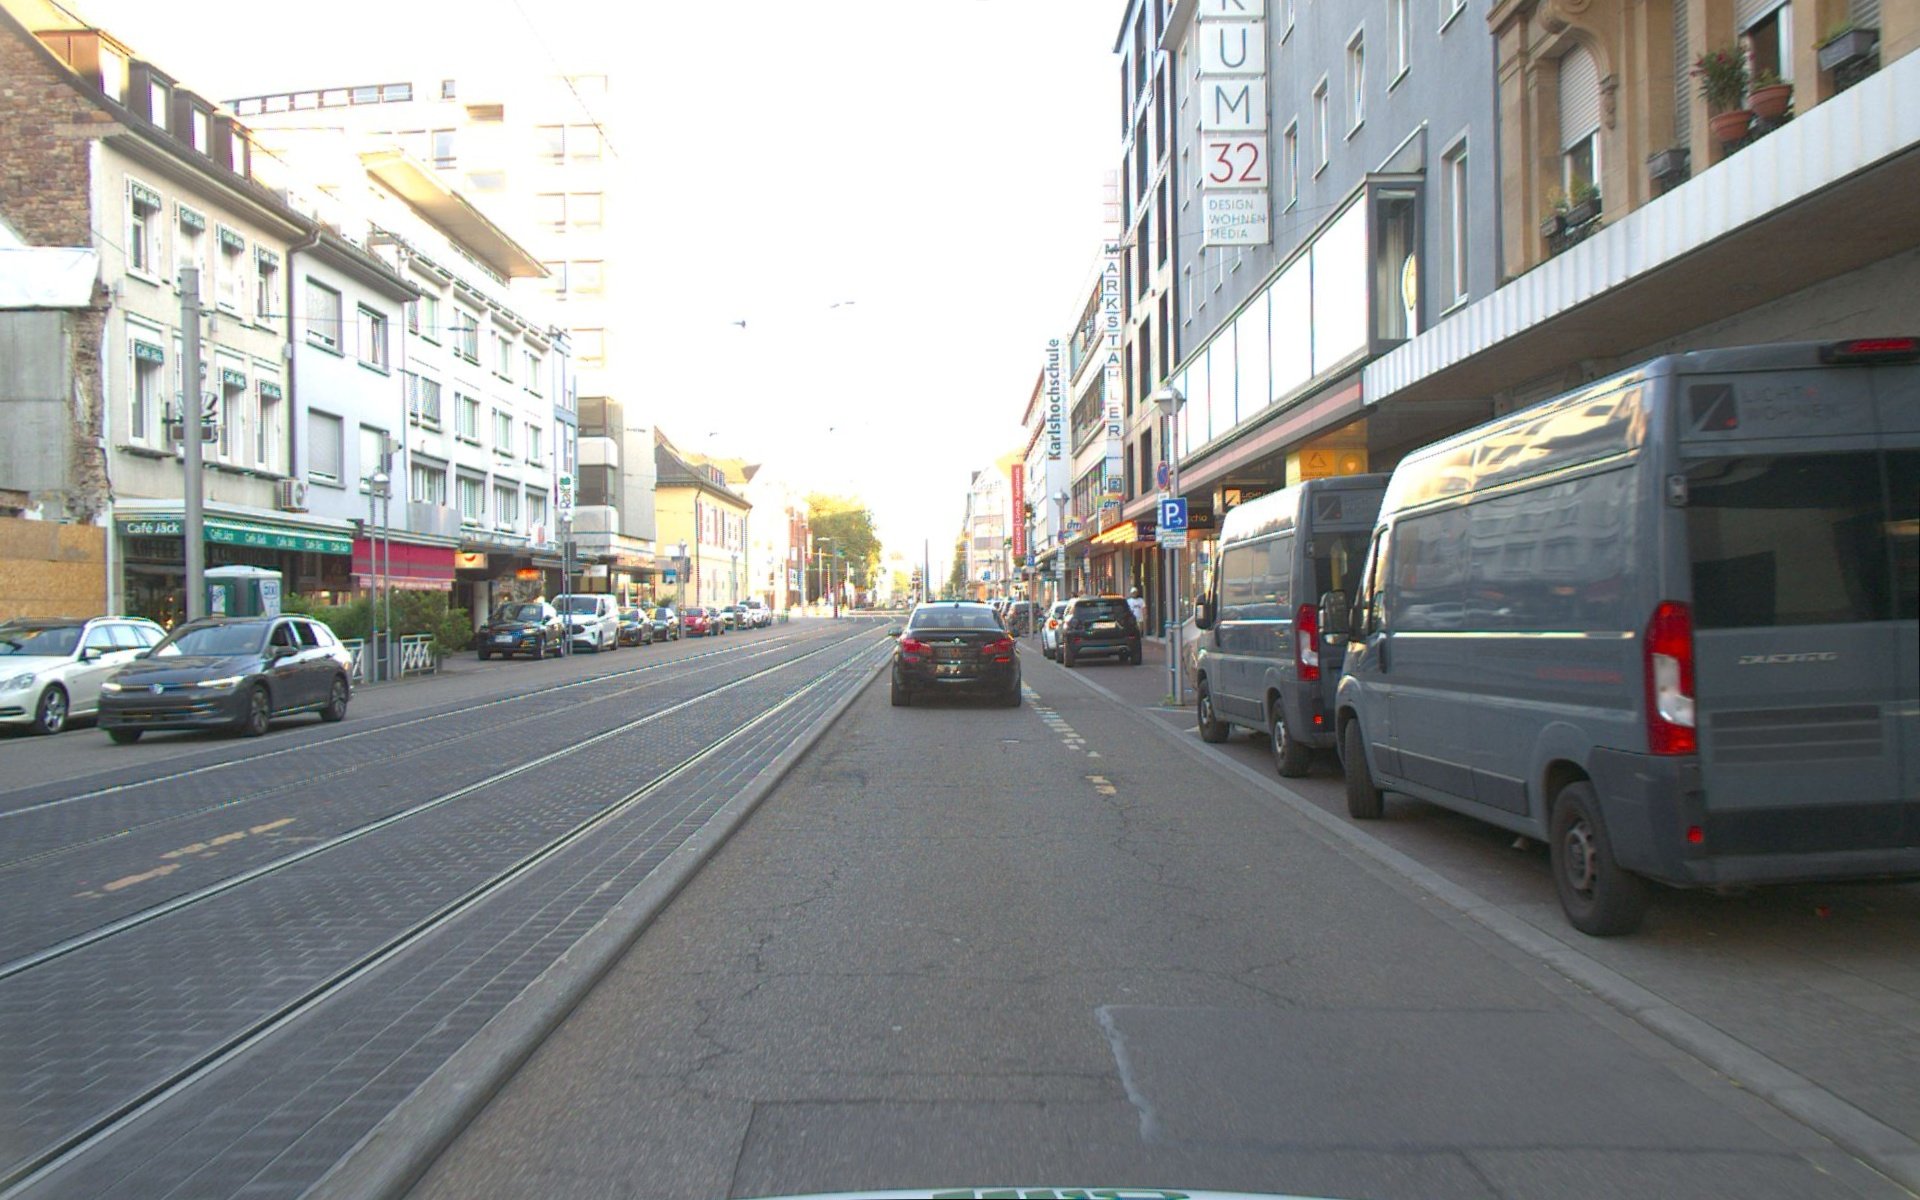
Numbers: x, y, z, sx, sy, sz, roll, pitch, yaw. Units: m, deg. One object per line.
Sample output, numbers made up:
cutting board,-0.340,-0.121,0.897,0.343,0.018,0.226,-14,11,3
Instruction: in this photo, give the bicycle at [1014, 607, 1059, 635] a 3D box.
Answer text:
bicycle,3.122,0.864,67.354,1.823,1.099,0.468,-1,-1,0

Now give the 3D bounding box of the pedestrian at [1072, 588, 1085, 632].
pedestrian,4.723,0.414,65.847,0.465,1.729,0.752,-1,0,3

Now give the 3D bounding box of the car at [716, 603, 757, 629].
car,-13.504,0.961,100.216,1.889,1.460,4.245,-1,0,0

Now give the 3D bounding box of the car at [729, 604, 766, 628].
car,-13.653,1.003,106.422,1.889,1.460,4.245,0,0,0

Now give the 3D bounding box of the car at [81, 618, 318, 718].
car,-12.698,1.082,27.960,1.952,1.478,4.330,-1,0,1

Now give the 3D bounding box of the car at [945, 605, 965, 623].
car,-0.475,1.290,147.071,1.738,1.576,3.502,0,-1,-1

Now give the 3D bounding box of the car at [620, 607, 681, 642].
car,-13.395,1.041,71.790,1.889,1.460,4.245,0,0,0

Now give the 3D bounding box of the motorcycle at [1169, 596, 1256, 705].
motorcycle,3.602,0.697,23.777,0.827,1.443,2.164,-3,0,-1

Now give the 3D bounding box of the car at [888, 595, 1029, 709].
car,0.016,0.722,24.811,1.913,1.524,4.465,-1,0,1

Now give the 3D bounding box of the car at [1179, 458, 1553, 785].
car,3.592,0.167,15.866,1.992,2.498,5.407,-3,0,-2

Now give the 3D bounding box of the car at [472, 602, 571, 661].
car,-13.160,0.914,49.863,1.822,1.707,4.464,0,0,0

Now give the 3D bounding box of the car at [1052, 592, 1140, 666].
car,3.115,0.637,38.393,1.621,1.564,3.885,-2,0,-1

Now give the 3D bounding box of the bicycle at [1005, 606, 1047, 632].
bicycle,2.927,0.858,73.133,1.823,1.139,0.468,-1,-1,0

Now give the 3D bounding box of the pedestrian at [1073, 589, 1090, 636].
pedestrian,4.680,0.481,63.808,0.542,1.823,0.760,-1,0,-1

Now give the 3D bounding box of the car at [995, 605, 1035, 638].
car,2.742,1.086,83.287,1.864,1.576,3.779,0,-1,-1

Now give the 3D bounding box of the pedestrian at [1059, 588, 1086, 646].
pedestrian,3.296,0.499,48.510,0.548,1.676,0.756,-1,0,-16

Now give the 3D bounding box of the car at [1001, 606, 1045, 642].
car,2.890,1.097,76.481,1.864,1.576,3.999,0,-1,-1

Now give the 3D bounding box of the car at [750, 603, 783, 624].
car,-14.098,0.980,120.556,1.889,1.460,4.245,0,0,0

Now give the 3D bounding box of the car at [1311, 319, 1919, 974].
car,3.748,0.155,9.427,2.050,2.498,6.031,-2,0,-1

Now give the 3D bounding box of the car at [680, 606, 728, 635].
car,-13.391,1.051,86.806,1.889,1.460,4.245,0,0,0

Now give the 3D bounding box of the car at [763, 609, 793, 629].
car,-14.202,1.468,129.119,1.889,1.460,4.245,0,0,0

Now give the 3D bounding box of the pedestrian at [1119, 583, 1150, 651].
pedestrian,4.632,0.443,43.980,0.674,1.771,0.821,-3,0,1

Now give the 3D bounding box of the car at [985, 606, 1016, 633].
car,2.374,1.161,98.120,1.738,1.576,3.502,0,-1,-1

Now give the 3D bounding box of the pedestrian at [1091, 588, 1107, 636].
pedestrian,5.318,0.471,63.470,0.497,1.824,0.760,-1,0,0

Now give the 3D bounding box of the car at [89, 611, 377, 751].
car,-9.193,0.953,21.356,1.657,1.478,4.465,-3,0,0

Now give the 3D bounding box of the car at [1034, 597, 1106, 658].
car,2.873,0.691,43.659,1.528,1.467,3.708,-3,0,-1

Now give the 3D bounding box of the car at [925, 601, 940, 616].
car,-3.680,1.165,221.933,1.953,1.870,3.998,0,-3,-1

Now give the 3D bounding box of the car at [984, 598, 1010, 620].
car,2.667,0.676,119.631,1.738,1.576,3.502,0,-1,-1

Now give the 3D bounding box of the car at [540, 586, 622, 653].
car,-13.116,0.653,57.527,1.954,2.194,4.907,-1,0,-3

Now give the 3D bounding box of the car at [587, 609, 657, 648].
car,-13.262,1.078,65.098,1.889,1.460,4.245,0,0,0

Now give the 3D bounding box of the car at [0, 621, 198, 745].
car,-12.644,1.071,22.824,1.952,1.478,4.822,-1,0,1

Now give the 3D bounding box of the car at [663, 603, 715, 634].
car,-13.364,0.896,81.802,1.889,1.460,4.245,0,0,0
